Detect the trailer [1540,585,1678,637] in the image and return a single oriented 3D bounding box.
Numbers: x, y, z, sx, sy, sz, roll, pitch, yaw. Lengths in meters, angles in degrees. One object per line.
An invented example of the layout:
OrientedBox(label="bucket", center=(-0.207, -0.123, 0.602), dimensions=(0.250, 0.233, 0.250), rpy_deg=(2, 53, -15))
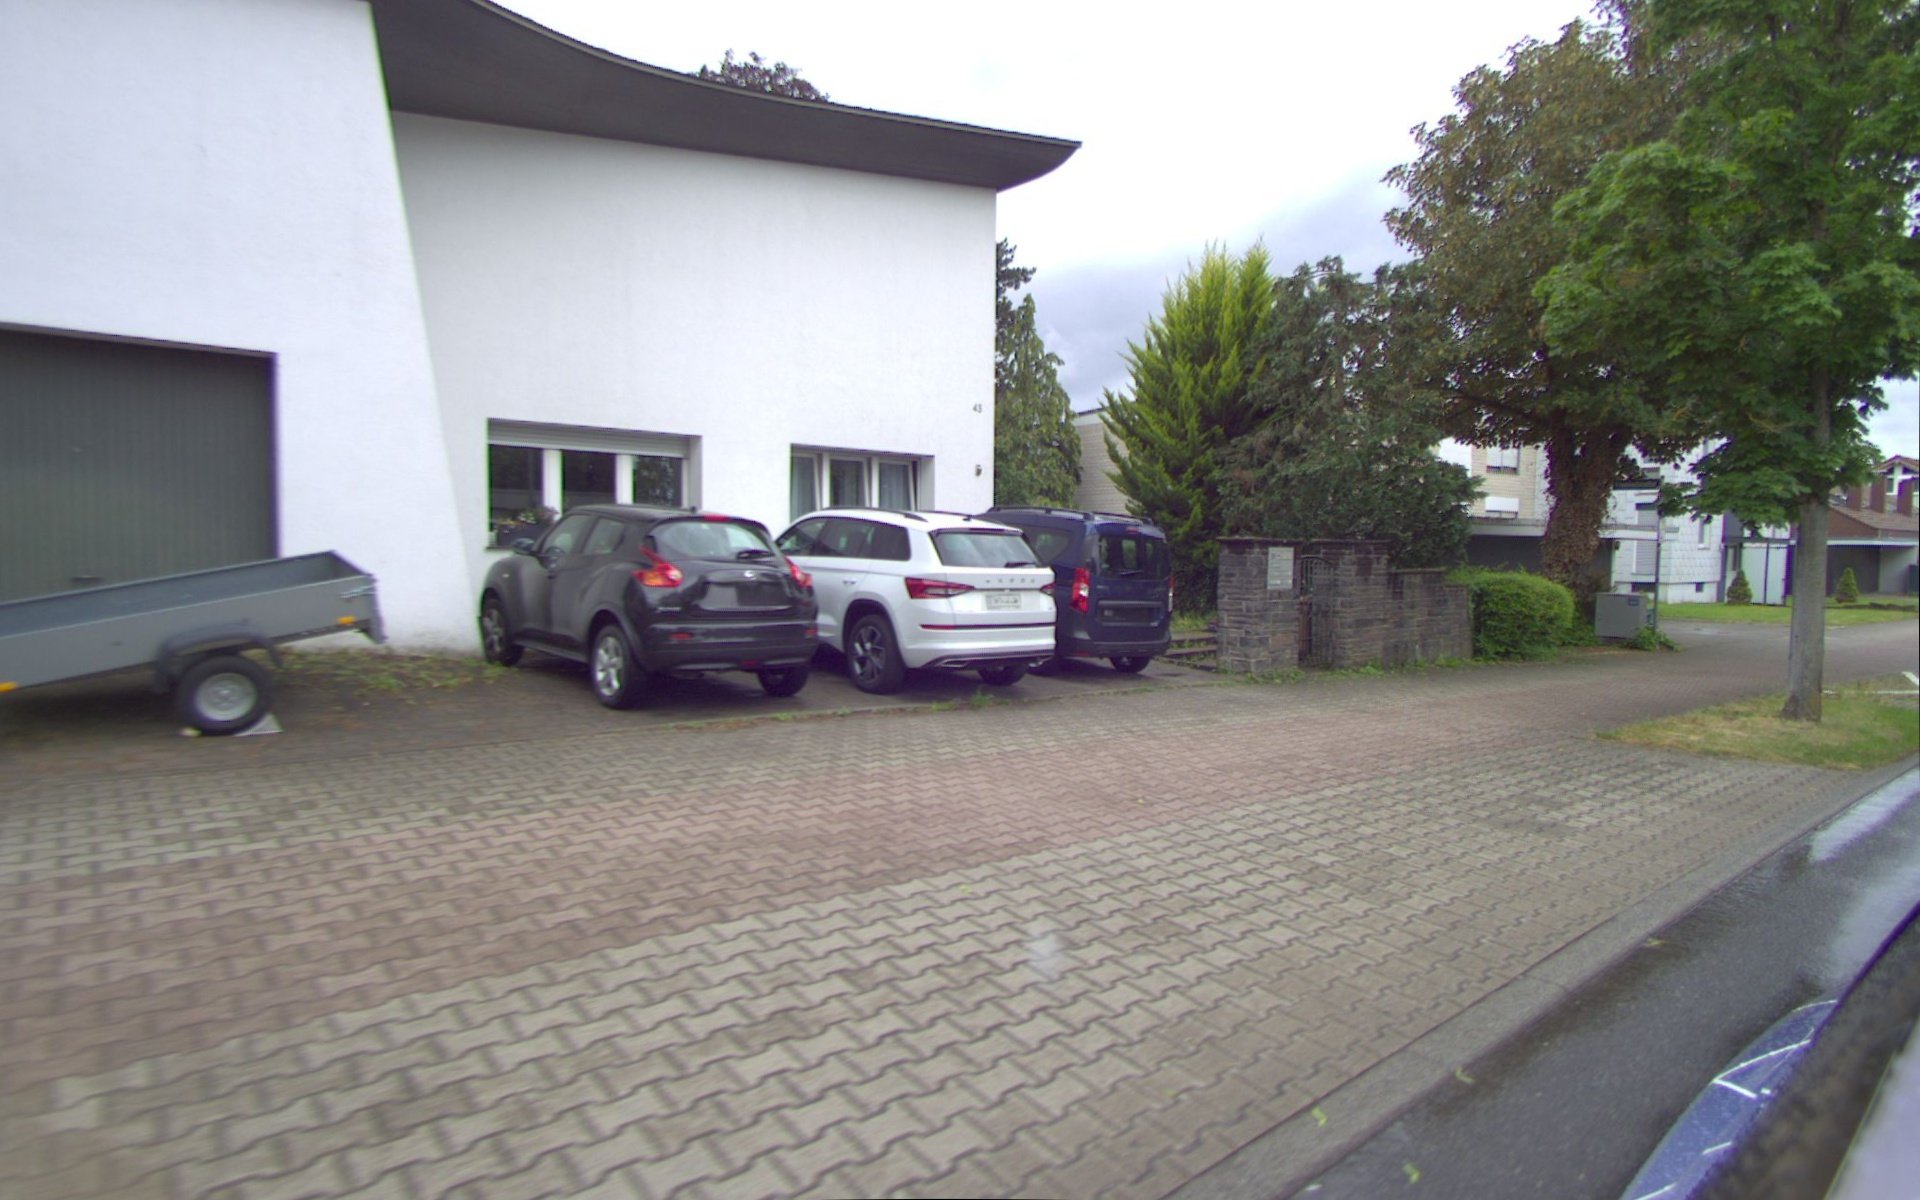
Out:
OrientedBox(label="trailer", center=(14.004, 0.206, 21.894), dimensions=(1.245, 0.970, 2.184), rpy_deg=(0, 3, -33))

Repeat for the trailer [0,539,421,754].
OrientedBox(label="trailer", center=(-5.154, 0.205, 5.964), dimensions=(3.222, 0.931, 1.423), rpy_deg=(-2, 11, -45))

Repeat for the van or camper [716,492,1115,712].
OrientedBox(label="van or camper", center=(-0.643, -0.150, 10.462), dimensions=(2.085, 1.697, 4.000), rpy_deg=(0, 6, -39))

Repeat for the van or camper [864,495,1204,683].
OrientedBox(label="van or camper", center=(0.725, -0.279, 12.399), dimensions=(1.911, 1.809, 4.030), rpy_deg=(0, 6, -37))

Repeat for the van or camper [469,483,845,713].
OrientedBox(label="van or camper", center=(-2.762, -0.162, 8.816), dimensions=(1.740, 1.574, 3.406), rpy_deg=(-1, 5, -44))
